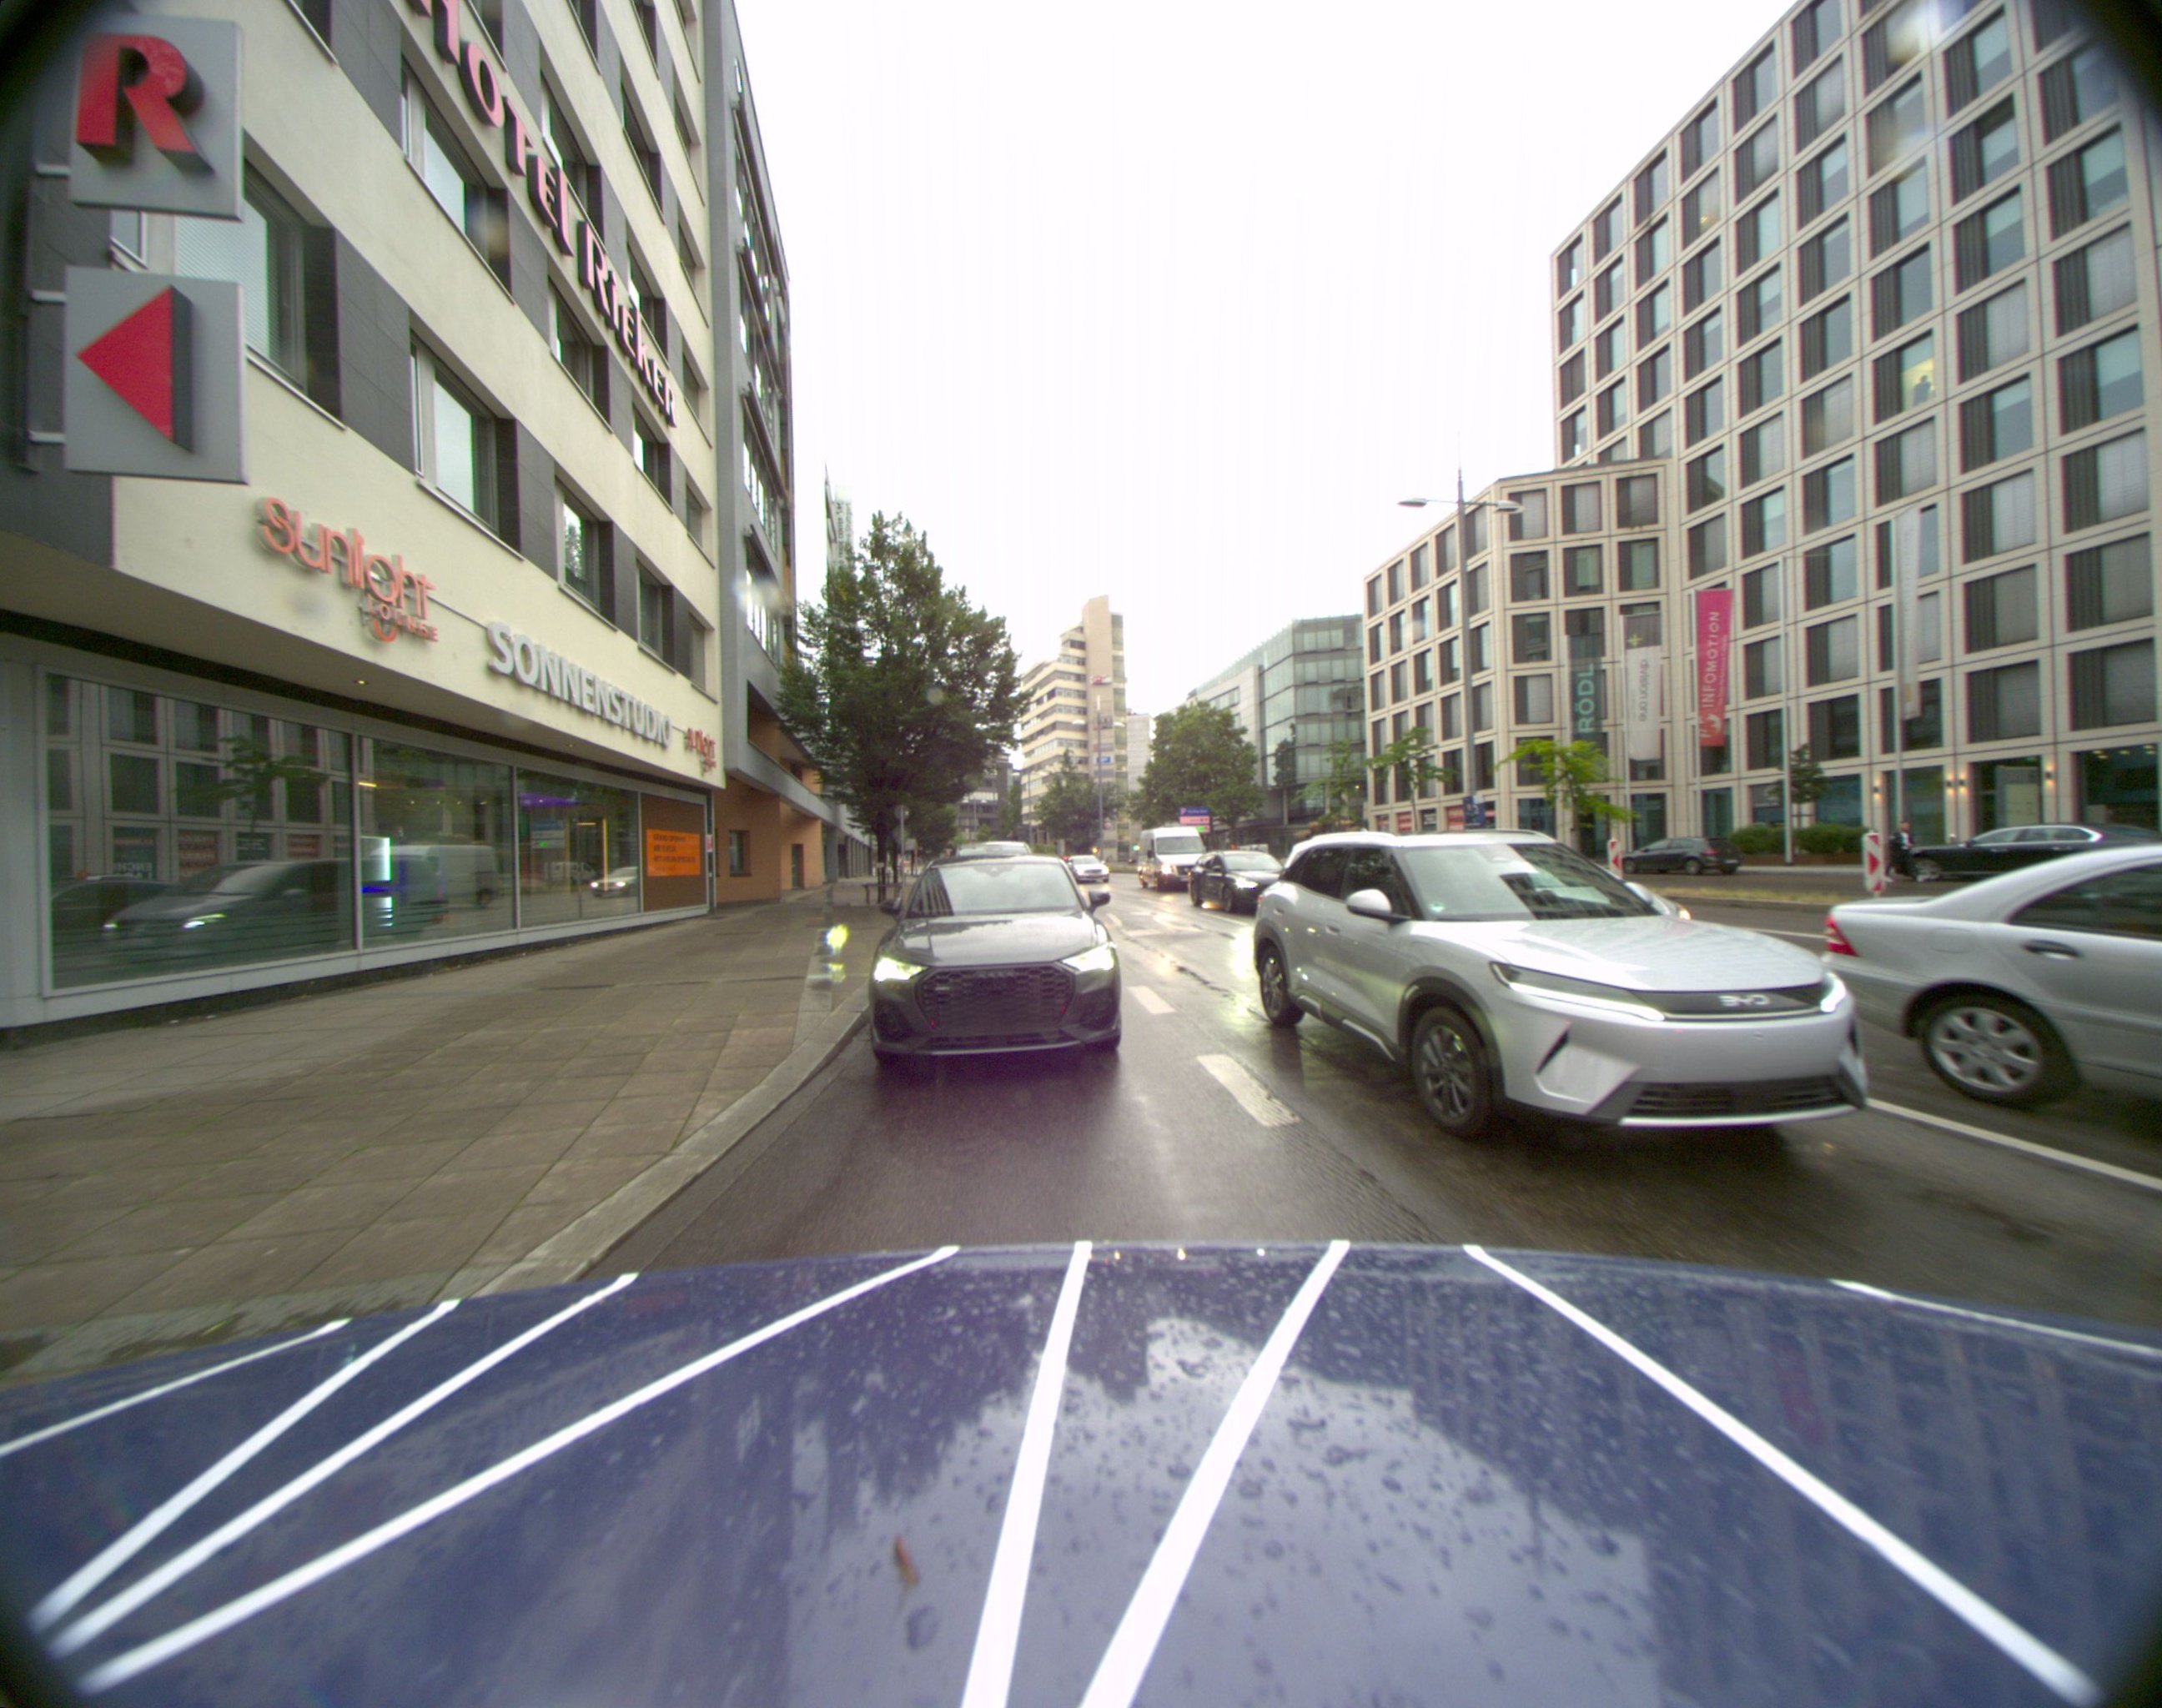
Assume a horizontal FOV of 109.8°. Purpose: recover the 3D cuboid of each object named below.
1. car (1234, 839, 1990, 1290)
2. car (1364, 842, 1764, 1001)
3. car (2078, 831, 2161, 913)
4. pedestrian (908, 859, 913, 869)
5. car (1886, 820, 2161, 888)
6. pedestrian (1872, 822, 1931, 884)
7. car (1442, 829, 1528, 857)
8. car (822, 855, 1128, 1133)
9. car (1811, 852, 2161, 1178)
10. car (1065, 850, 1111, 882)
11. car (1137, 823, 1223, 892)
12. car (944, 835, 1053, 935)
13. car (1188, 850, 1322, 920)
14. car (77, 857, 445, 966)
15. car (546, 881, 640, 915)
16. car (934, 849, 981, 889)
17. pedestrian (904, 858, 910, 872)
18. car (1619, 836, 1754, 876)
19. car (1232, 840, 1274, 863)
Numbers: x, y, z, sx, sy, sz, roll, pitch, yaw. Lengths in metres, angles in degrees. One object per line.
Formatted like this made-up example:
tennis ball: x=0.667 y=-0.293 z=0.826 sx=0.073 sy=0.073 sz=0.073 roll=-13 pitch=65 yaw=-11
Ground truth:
car: x=2.568 y=0.774 z=5.062 sx=1.813 sy=1.652 sz=4.167 roll=-3 pitch=1 yaw=-6
car: x=5.627 y=0.633 z=9.569 sx=1.776 sy=1.470 sz=4.122 roll=-3 pitch=1 yaw=-15
car: x=20.819 y=0.324 z=13.207 sx=1.703 sy=1.510 sz=3.870 roll=-1 pitch=0 yaw=-11
pedestrian: x=-27.443 y=1.620 z=122.484 sx=0.654 sy=1.589 sz=1.057 roll=-3 pitch=2 yaw=-17
car: x=25.112 y=-0.017 z=20.055 sx=1.703 sy=1.560 sz=5.178 roll=-1 pitch=0 yaw=-11
pedestrian: x=23.511 y=-0.035 z=21.780 sx=0.614 sy=1.724 sz=0.966 roll=-3 pitch=2 yaw=-8
car: x=21.619 y=-0.559 z=40.835 sx=1.703 sy=1.415 sz=4.369 roll=-1 pitch=0 yaw=-11
car: x=-0.757 y=0.859 z=6.872 sx=1.802 sy=1.543 sz=4.386 roll=-3 pitch=1 yaw=-3
car: x=5.835 y=0.756 z=2.857 sx=1.738 sy=1.396 sz=4.380 roll=-3 pitch=1 yaw=-5
car: x=0.311 y=0.568 z=40.178 sx=1.786 sy=1.499 sz=3.996 roll=-3 pitch=1 yaw=-9
car: x=3.763 y=0.080 z=30.145 sx=2.260 sy=2.372 sz=5.716 roll=-3 pitch=1 yaw=-4
car: x=-1.963 y=0.576 z=17.546 sx=2.061 sy=1.881 sz=5.044 roll=-3 pitch=1 yaw=-8
car: x=4.105 y=0.660 z=18.694 sx=1.905 sy=1.393 sz=4.238 roll=-3 pitch=1 yaw=-6
car: x=-15.606 y=0.954 z=15.027 sx=1.999 sy=1.600 sz=4.925 roll=-3 pitch=1 yaw=-3
car: x=-23.275 y=2.062 z=36.329 sx=3.391 sy=1.322 sz=1.564 roll=-3 pitch=1 yaw=-14
car: x=-6.600 y=0.715 z=40.121 sx=2.061 sy=1.881 sz=5.043 roll=-3 pitch=1 yaw=-12
pedestrian: x=-22.207 y=1.419 z=96.844 sx=0.641 sy=1.772 sz=0.879 roll=-3 pitch=0 yaw=-12
car: x=23.374 y=0.060 z=29.541 sx=1.703 sy=1.415 sz=3.951 roll=-1 pitch=0 yaw=-11
car: x=16.282 y=-0.248 z=72.160 sx=2.000 sy=2.002 sz=4.910 roll=-3 pitch=1 yaw=-12
